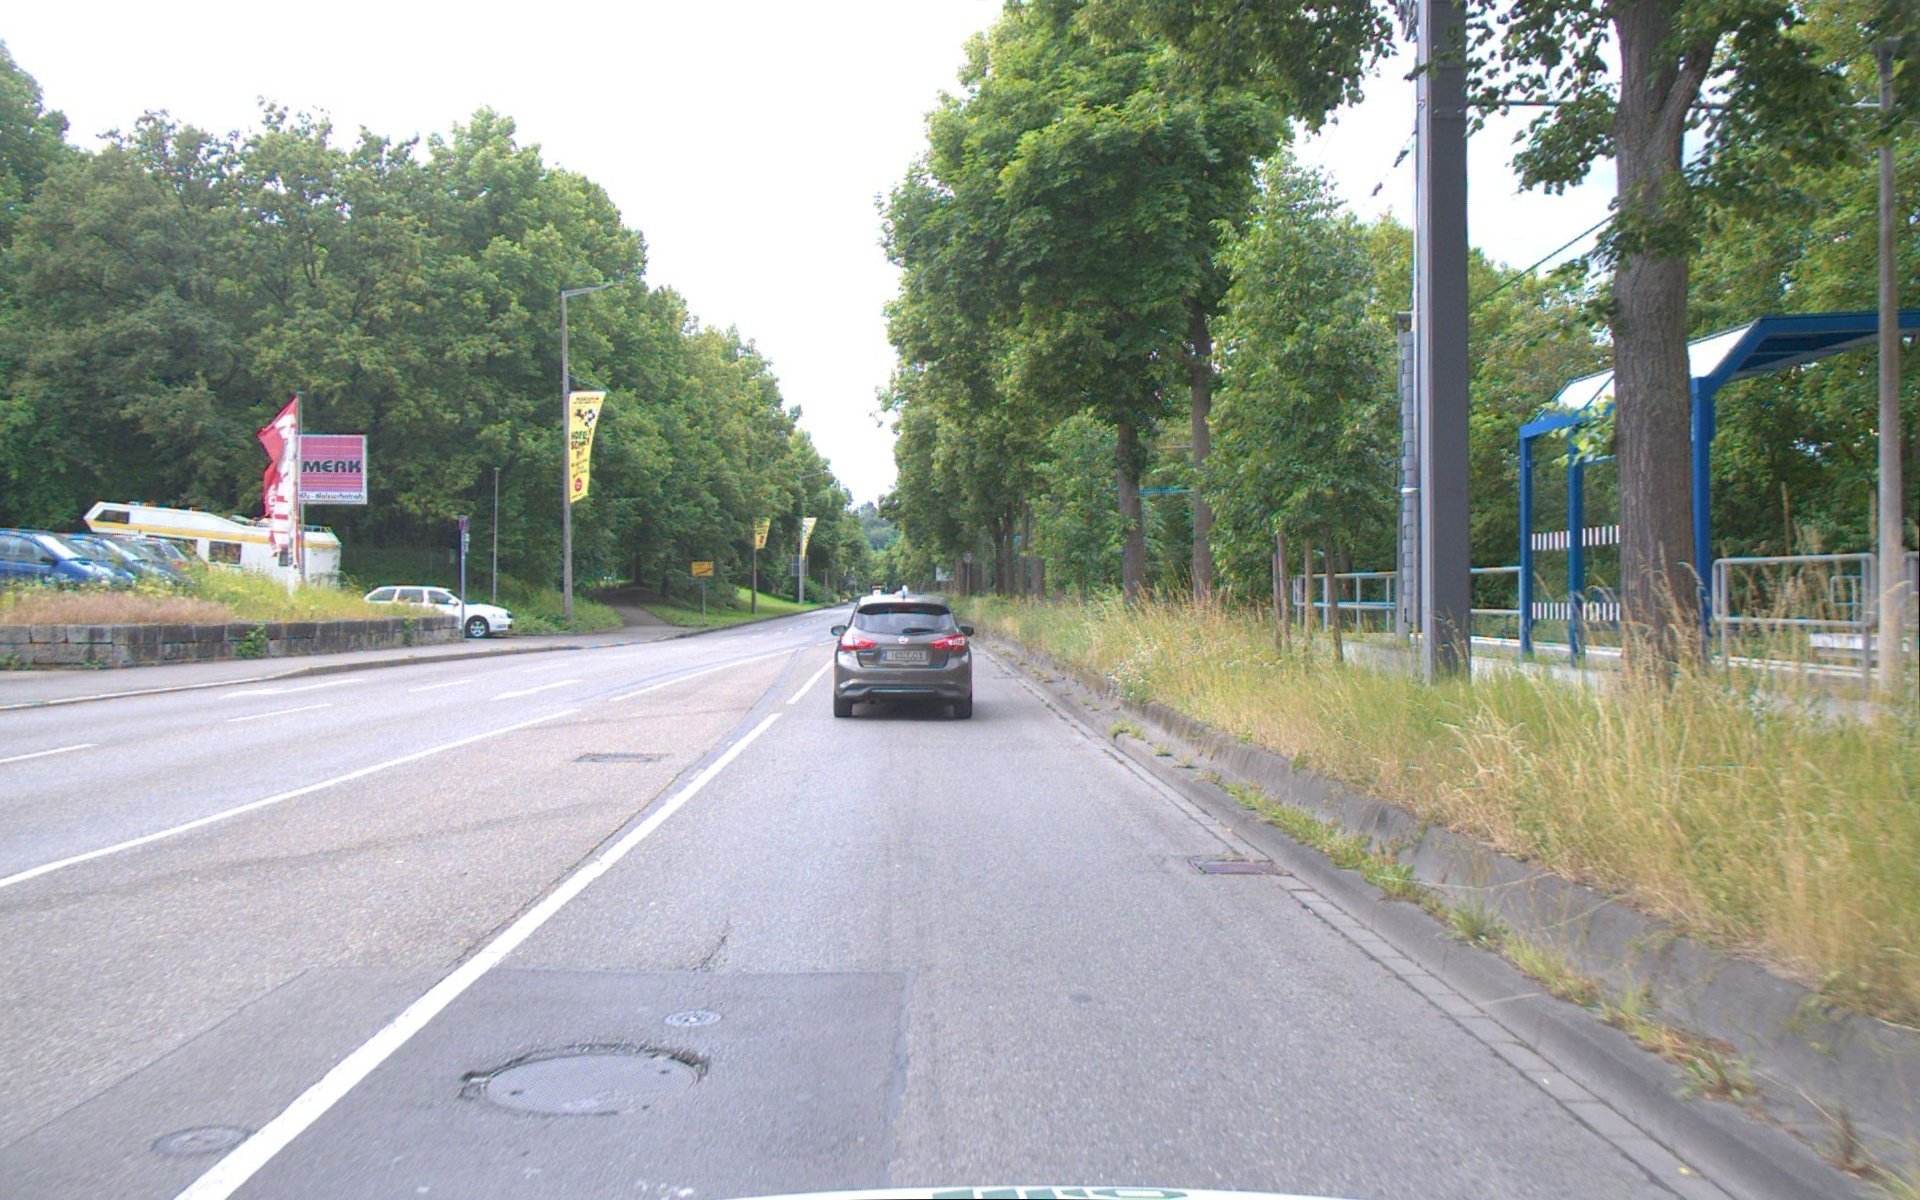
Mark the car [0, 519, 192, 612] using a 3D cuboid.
[{"bbox_3d":[-16.154,-0.613,29.575,3.904,1.523,1.860,2,-1,2],"label":"car"}]

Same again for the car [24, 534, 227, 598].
[{"bbox_3d":[-20.424,-0.806,40.584,3.904,1.394,2.000,2,-1,2],"label":"car"}]

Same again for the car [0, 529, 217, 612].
[{"bbox_3d":[-16.442,-0.548,31.434,3.904,1.435,1.534,2,-1,2],"label":"car"}]

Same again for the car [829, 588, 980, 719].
[{"bbox_3d":[-0.675,0.655,21.895,1.800,1.555,3.928,1,0,0],"label":"car"}]

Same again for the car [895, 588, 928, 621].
[{"bbox_3d":[-2.368,0.240,80.962,1.472,1.555,3.671,1,0,0],"label":"car"}]

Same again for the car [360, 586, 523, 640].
[{"bbox_3d":[-15.556,0.382,49.795,4.289,1.466,1.959,2,0,-5],"label":"car"}]

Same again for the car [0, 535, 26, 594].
[{"bbox_3d":[-25.122,-0.918,40.288,3.666,1.425,1.847,2,-1,2],"label":"car"}]

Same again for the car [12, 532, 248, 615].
[{"bbox_3d":[-16.699,-0.522,33.383,3.904,1.518,1.648,2,-1,2],"label":"car"}]

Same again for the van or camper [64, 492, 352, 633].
[{"bbox_3d":[-22.287,-1.076,49.328,7.000,3.429,2.795,5,0,-2],"label":"van or camper"}]
